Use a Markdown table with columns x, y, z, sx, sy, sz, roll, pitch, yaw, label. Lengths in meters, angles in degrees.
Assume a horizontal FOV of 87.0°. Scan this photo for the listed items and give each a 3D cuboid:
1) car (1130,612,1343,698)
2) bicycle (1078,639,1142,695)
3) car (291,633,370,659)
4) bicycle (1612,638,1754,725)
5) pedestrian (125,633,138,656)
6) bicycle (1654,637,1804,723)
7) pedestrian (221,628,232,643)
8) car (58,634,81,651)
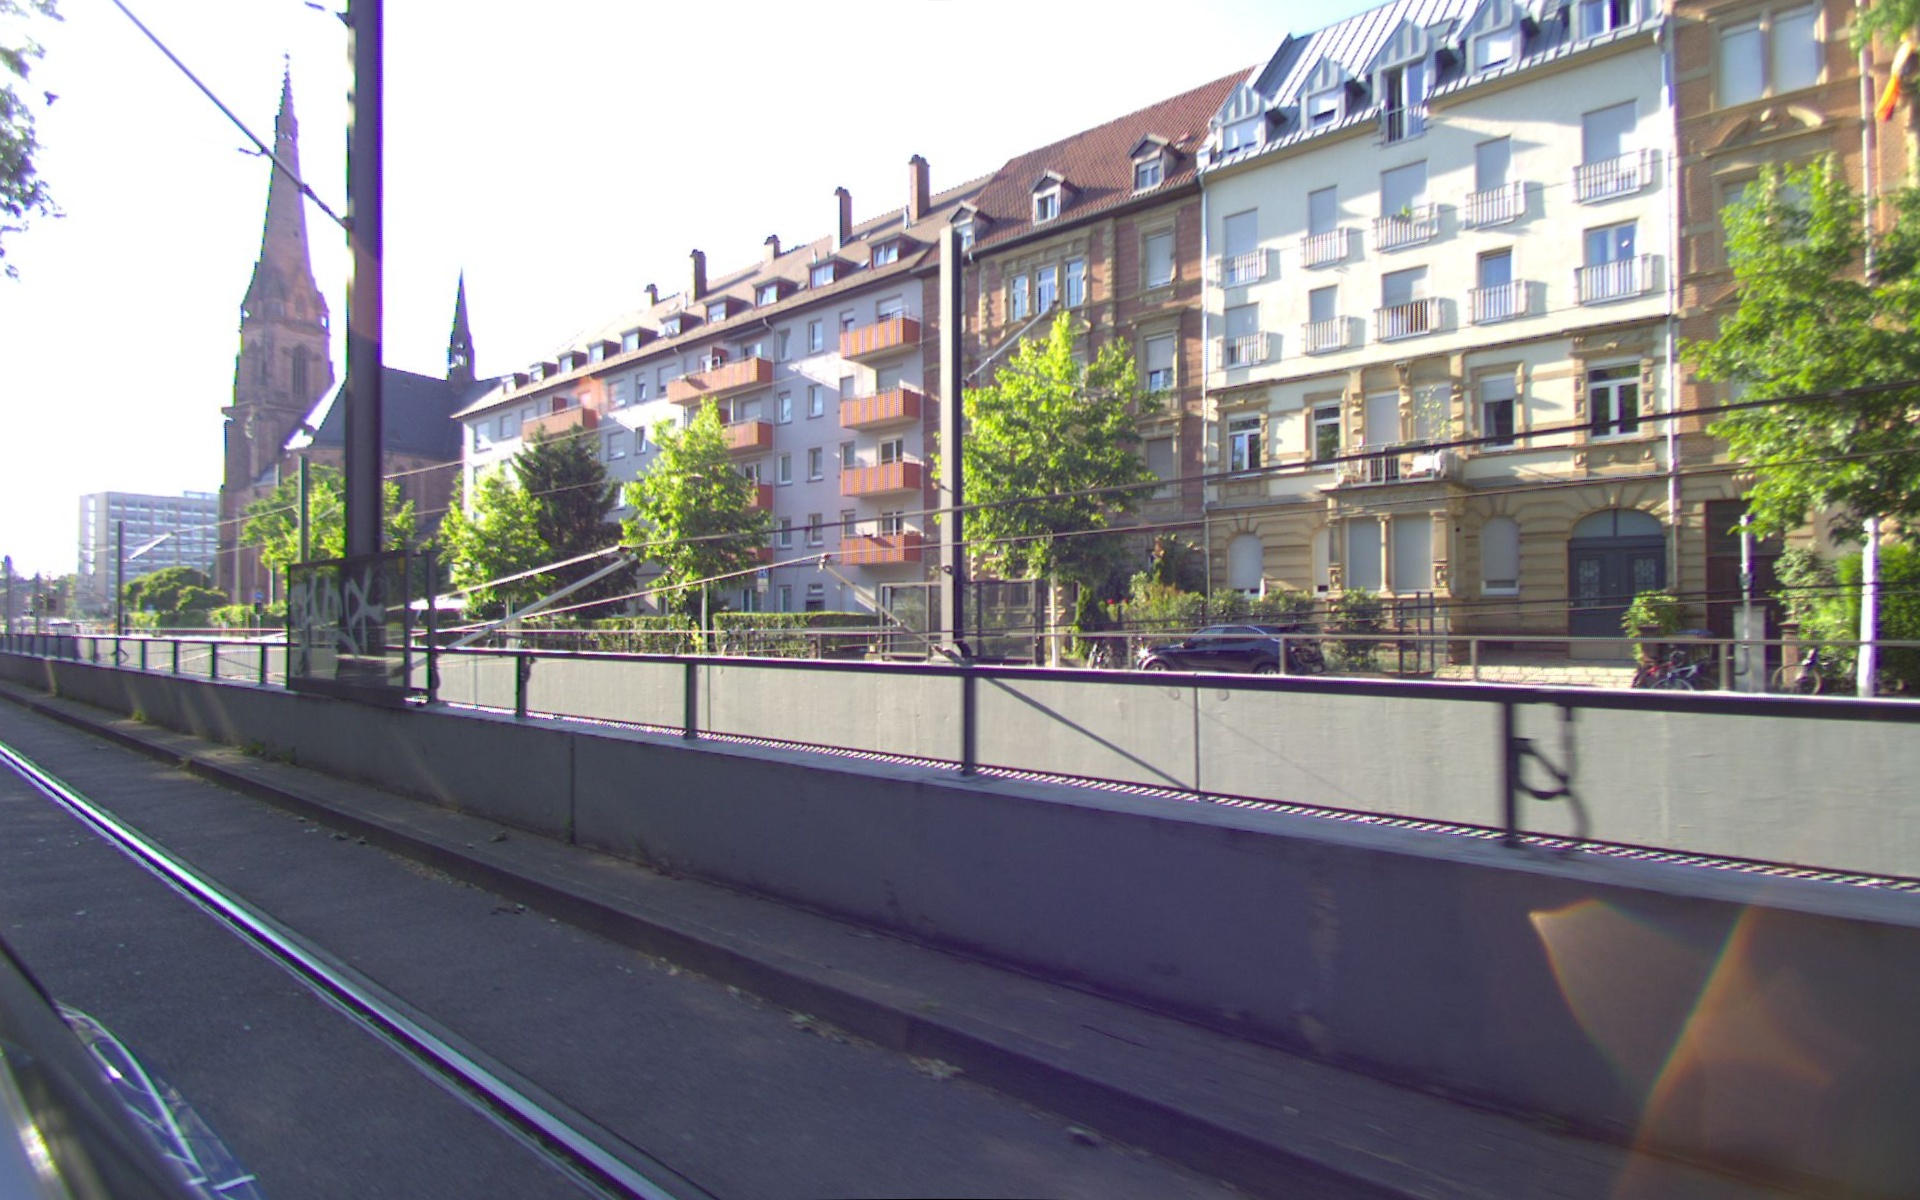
| x | y | z | sx | sy | sz | roll | pitch | yaw | label |
| --- | --- | --- | --- | --- | --- | --- | --- | --- | --- |
| 5.894 | 1.129 | 21.797 | 3.996 | 1.597 | 1.814 | -2 | 1 | 39 | car |
| 3.629 | 1.584 | 24.403 | 0.562 | 1.187 | 1.788 | -2 | 1 | 43 | bicycle |
| -44.179 | 3.226 | 71.092 | 1.976 | 1.515 | 4.348 | -2 | 1 | 41 | car |
| 11.616 | 1.263 | 16.399 | 0.635 | 1.106 | 2.780 | -2 | 1 | 8 | bicycle |
| -63.146 | 3.395 | 77.140 | 0.751 | 1.685 | 0.490 | -2 | 1 | 27 | pedestrian |
| 12.299 | 1.235 | 16.329 | 0.635 | 1.106 | 2.780 | -2 | 1 | 8 | bicycle |
| -74.302 | 3.606 | 102.535 | 0.945 | 1.500 | 0.580 | -2 | 1 | 38 | pedestrian |
| -111.229 | 5.318 | 126.444 | 1.968 | 2.029 | 5.021 | 3 | -3 | -40 | car |
